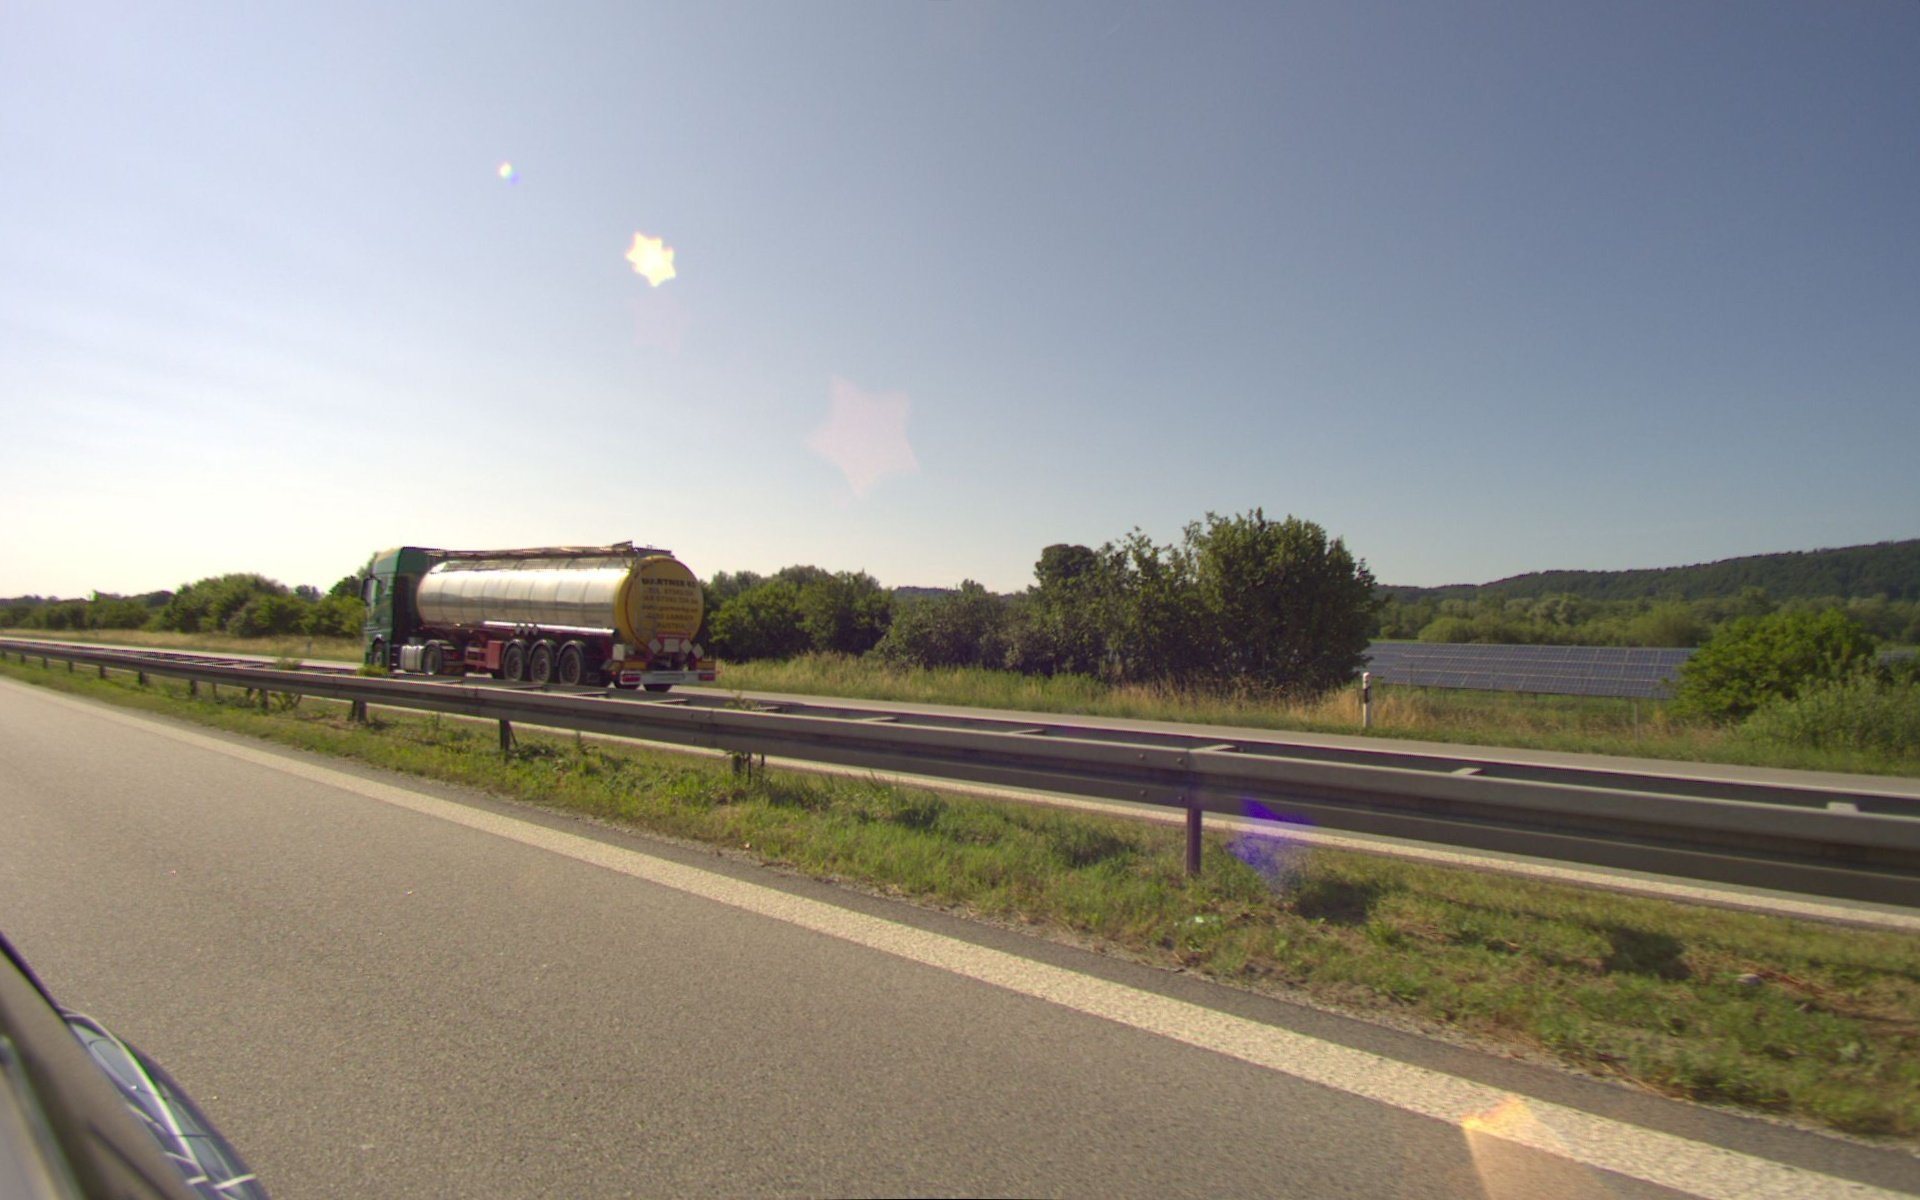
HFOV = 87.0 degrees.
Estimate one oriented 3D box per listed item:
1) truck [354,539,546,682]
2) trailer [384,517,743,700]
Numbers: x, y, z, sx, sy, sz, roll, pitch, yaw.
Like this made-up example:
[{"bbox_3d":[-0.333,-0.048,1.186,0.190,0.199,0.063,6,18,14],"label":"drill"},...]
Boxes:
[{"bbox_3d":[-14.884,0.350,29.442,5.564,3.760,2.925,-1,-3,40],"label":"truck"},{"bbox_3d":[-10.645,0.292,25.893,12.410,3.759,2.949,-1,-3,40],"label":"trailer"}]
